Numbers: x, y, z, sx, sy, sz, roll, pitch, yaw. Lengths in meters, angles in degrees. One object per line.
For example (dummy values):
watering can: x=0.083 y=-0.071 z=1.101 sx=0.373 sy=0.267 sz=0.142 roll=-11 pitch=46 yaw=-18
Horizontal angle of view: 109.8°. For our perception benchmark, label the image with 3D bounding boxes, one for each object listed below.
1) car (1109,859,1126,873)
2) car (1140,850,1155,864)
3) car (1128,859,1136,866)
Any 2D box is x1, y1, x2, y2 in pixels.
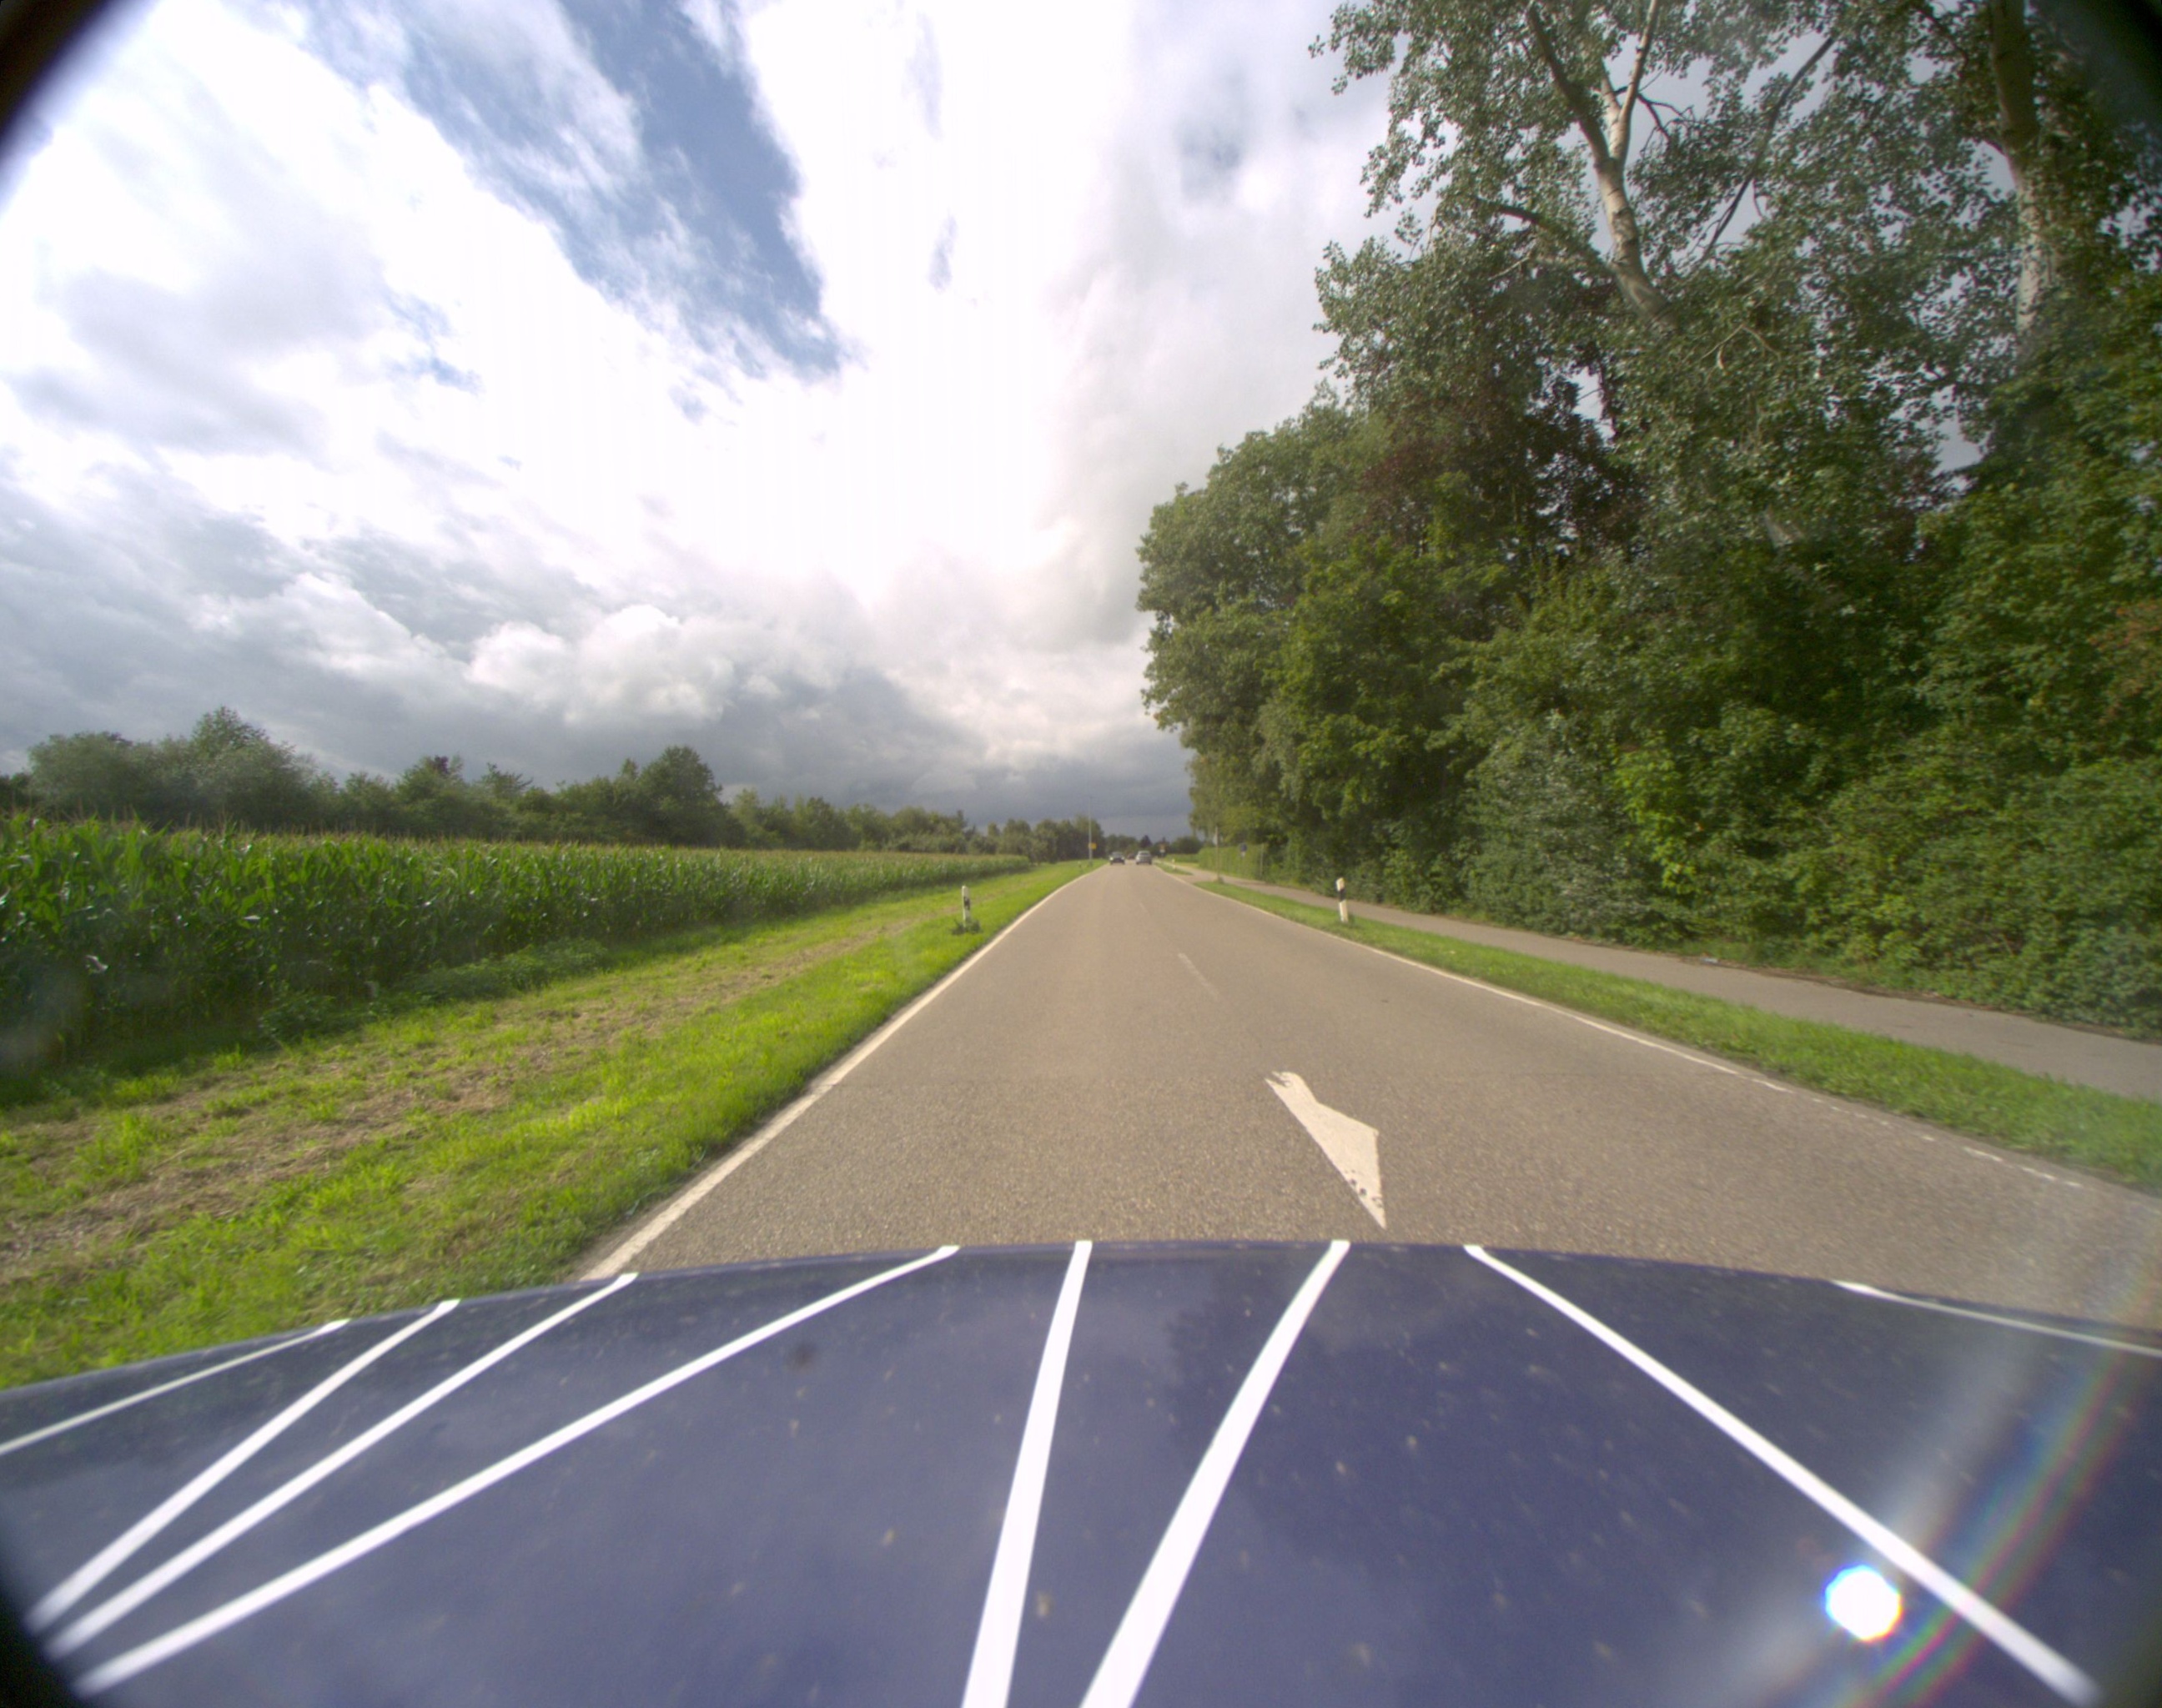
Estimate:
car: x=4.723 y=1.533 z=97.937 sx=1.998 sy=1.594 sz=4.001 roll=-2 pitch=0 yaw=4
car: x=8.199 y=0.348 z=94.149 sx=1.815 sy=1.641 sz=4.293 roll=1 pitch=0 yaw=4
car: x=12.390 y=2.018 z=184.418 sx=1.744 sy=1.462 sz=4.001 roll=0 pitch=0 yaw=3
